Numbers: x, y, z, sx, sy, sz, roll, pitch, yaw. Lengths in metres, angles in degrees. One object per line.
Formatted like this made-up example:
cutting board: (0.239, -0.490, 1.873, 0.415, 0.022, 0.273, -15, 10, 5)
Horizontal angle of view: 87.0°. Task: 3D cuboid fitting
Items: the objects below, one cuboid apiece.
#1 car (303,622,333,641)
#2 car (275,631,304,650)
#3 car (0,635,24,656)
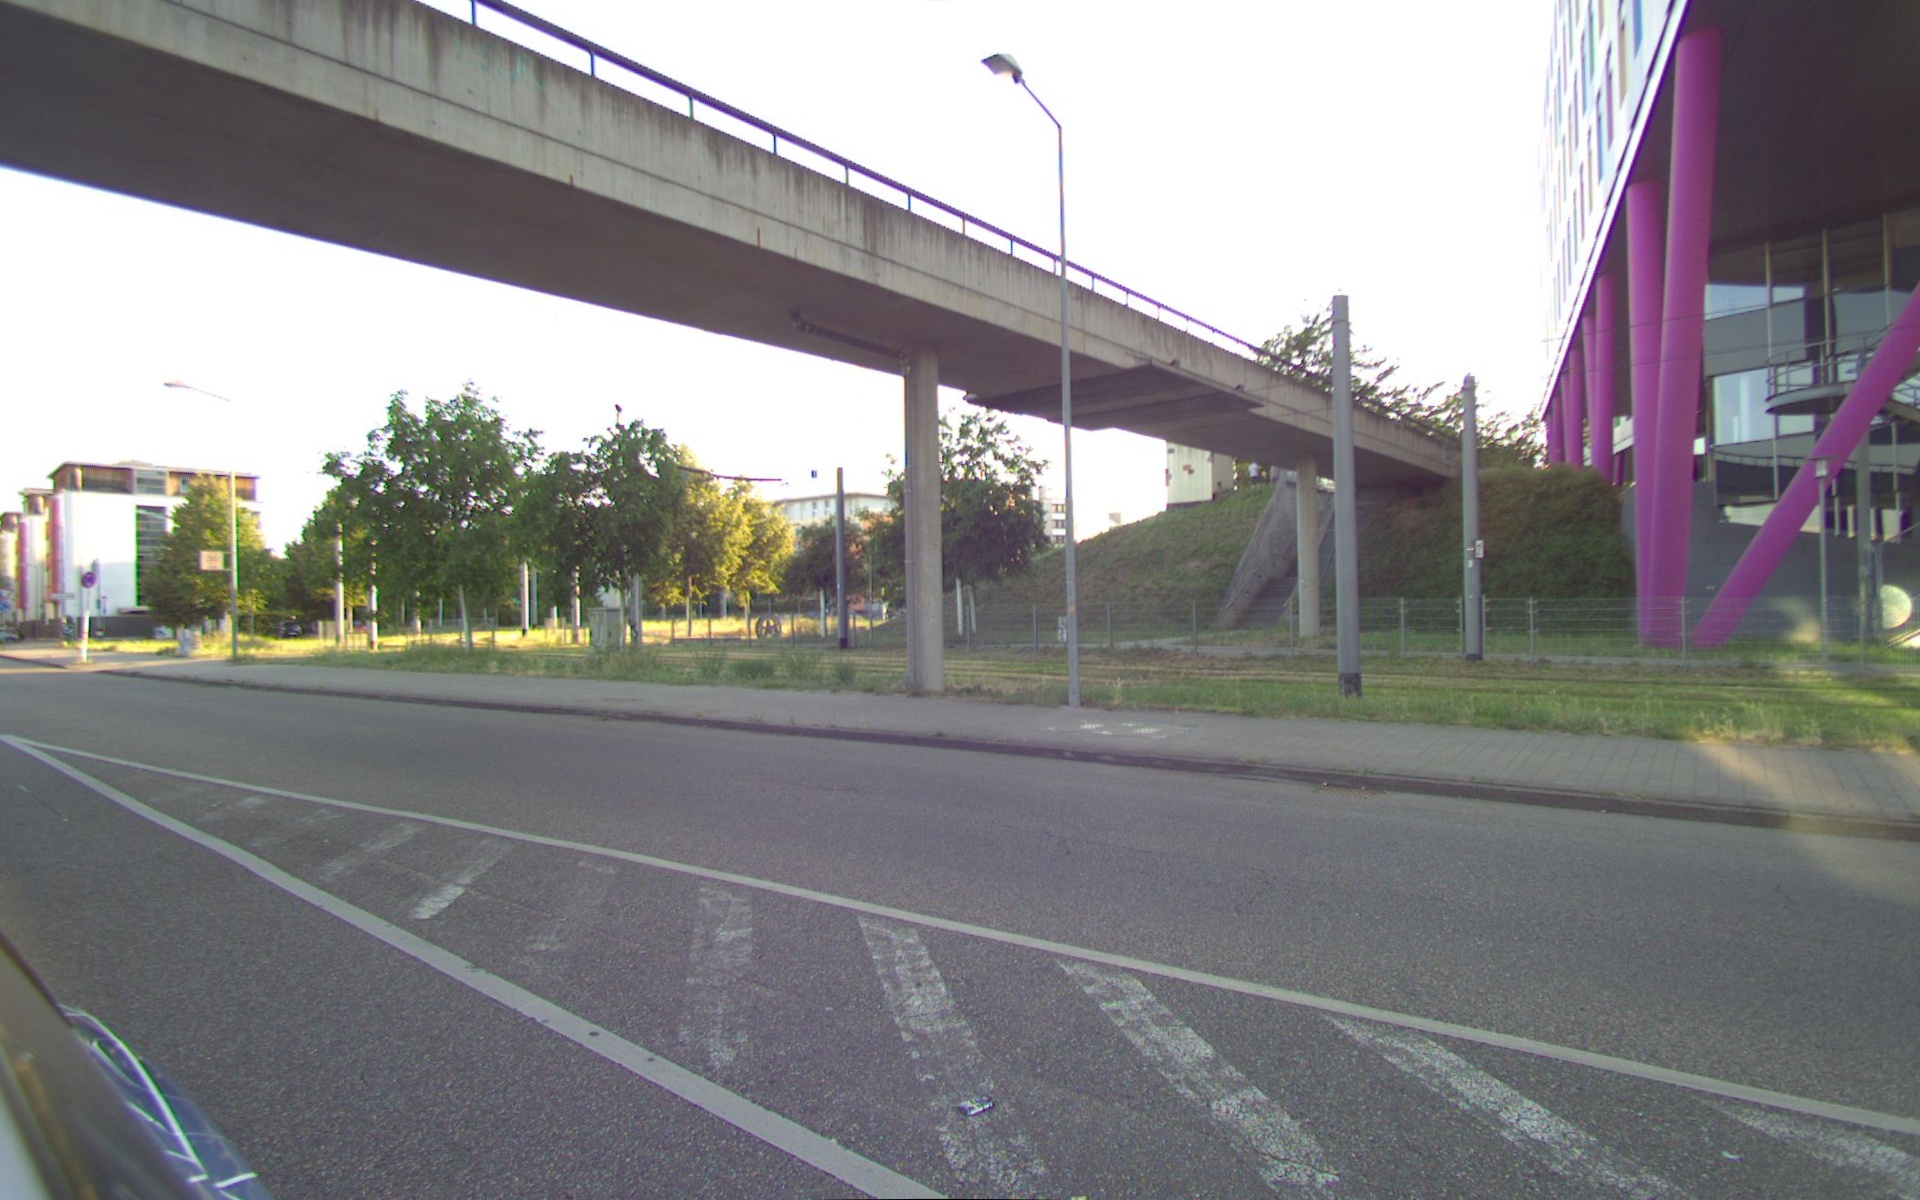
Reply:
car: (-55.236, 2.724, 87.046, 1.913, 1.541, 4.009, -1, -1, -36)
car: (-56.817, 3.427, 85.767, 1.913, 1.541, 4.009, -1, -1, -36)
car: (-80.321, 3.799, 83.830, 2.000, 1.741, 3.944, -2, -1, 42)
